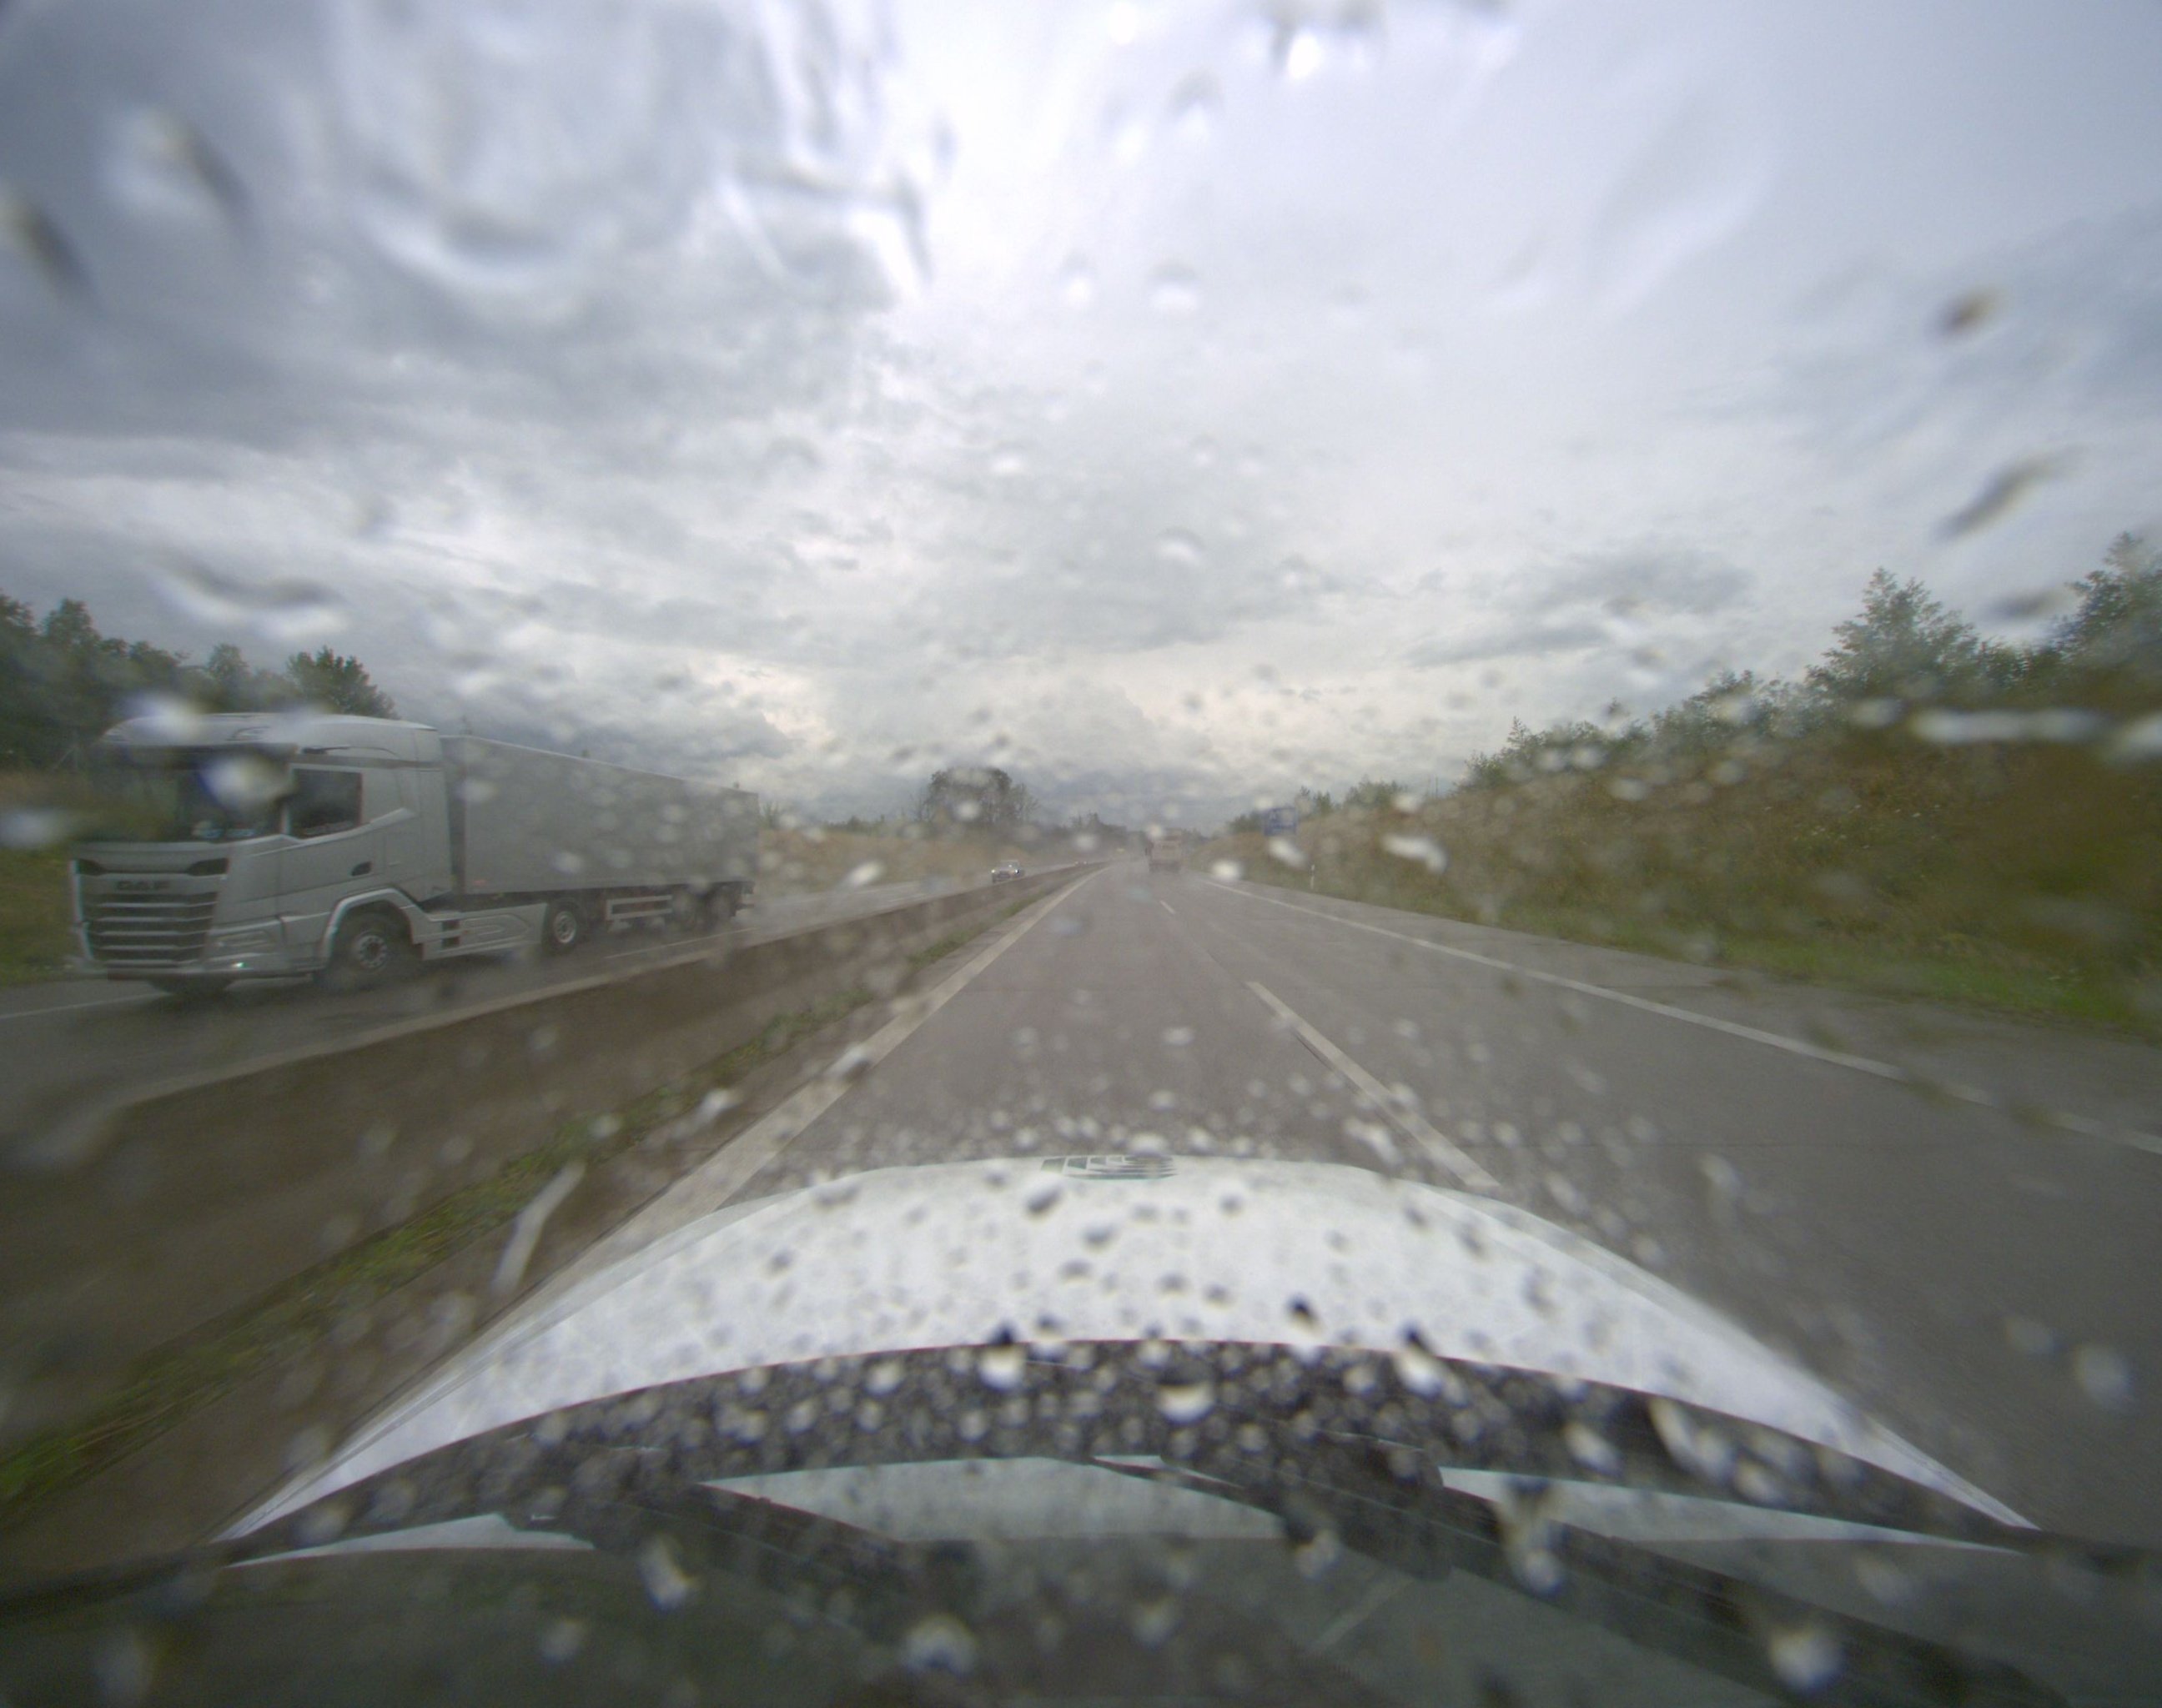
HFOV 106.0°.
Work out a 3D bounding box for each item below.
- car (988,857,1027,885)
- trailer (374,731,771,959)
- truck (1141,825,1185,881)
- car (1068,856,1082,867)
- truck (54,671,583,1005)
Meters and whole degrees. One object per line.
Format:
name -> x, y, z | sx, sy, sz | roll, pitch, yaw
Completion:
car -> -4.851, 1.114, 54.338 | 1.985, 1.518, 4.192 | -3, 2, 2
trailer -> -10.401, -0.193, 18.475 | 2.893, 3.840, 9.362 | -1, 1, 1
truck -> 6.776, -0.138, 68.415 | 3.230, 4.436, 8.253 | -1, 1, 3
car -> -0.847, 1.103, 118.885 | 1.617, 1.428, 4.004 | -3, 1, 3
truck -> -10.556, -0.188, 12.172 | 2.875, 3.870, 5.196 | -1, 0, 1
